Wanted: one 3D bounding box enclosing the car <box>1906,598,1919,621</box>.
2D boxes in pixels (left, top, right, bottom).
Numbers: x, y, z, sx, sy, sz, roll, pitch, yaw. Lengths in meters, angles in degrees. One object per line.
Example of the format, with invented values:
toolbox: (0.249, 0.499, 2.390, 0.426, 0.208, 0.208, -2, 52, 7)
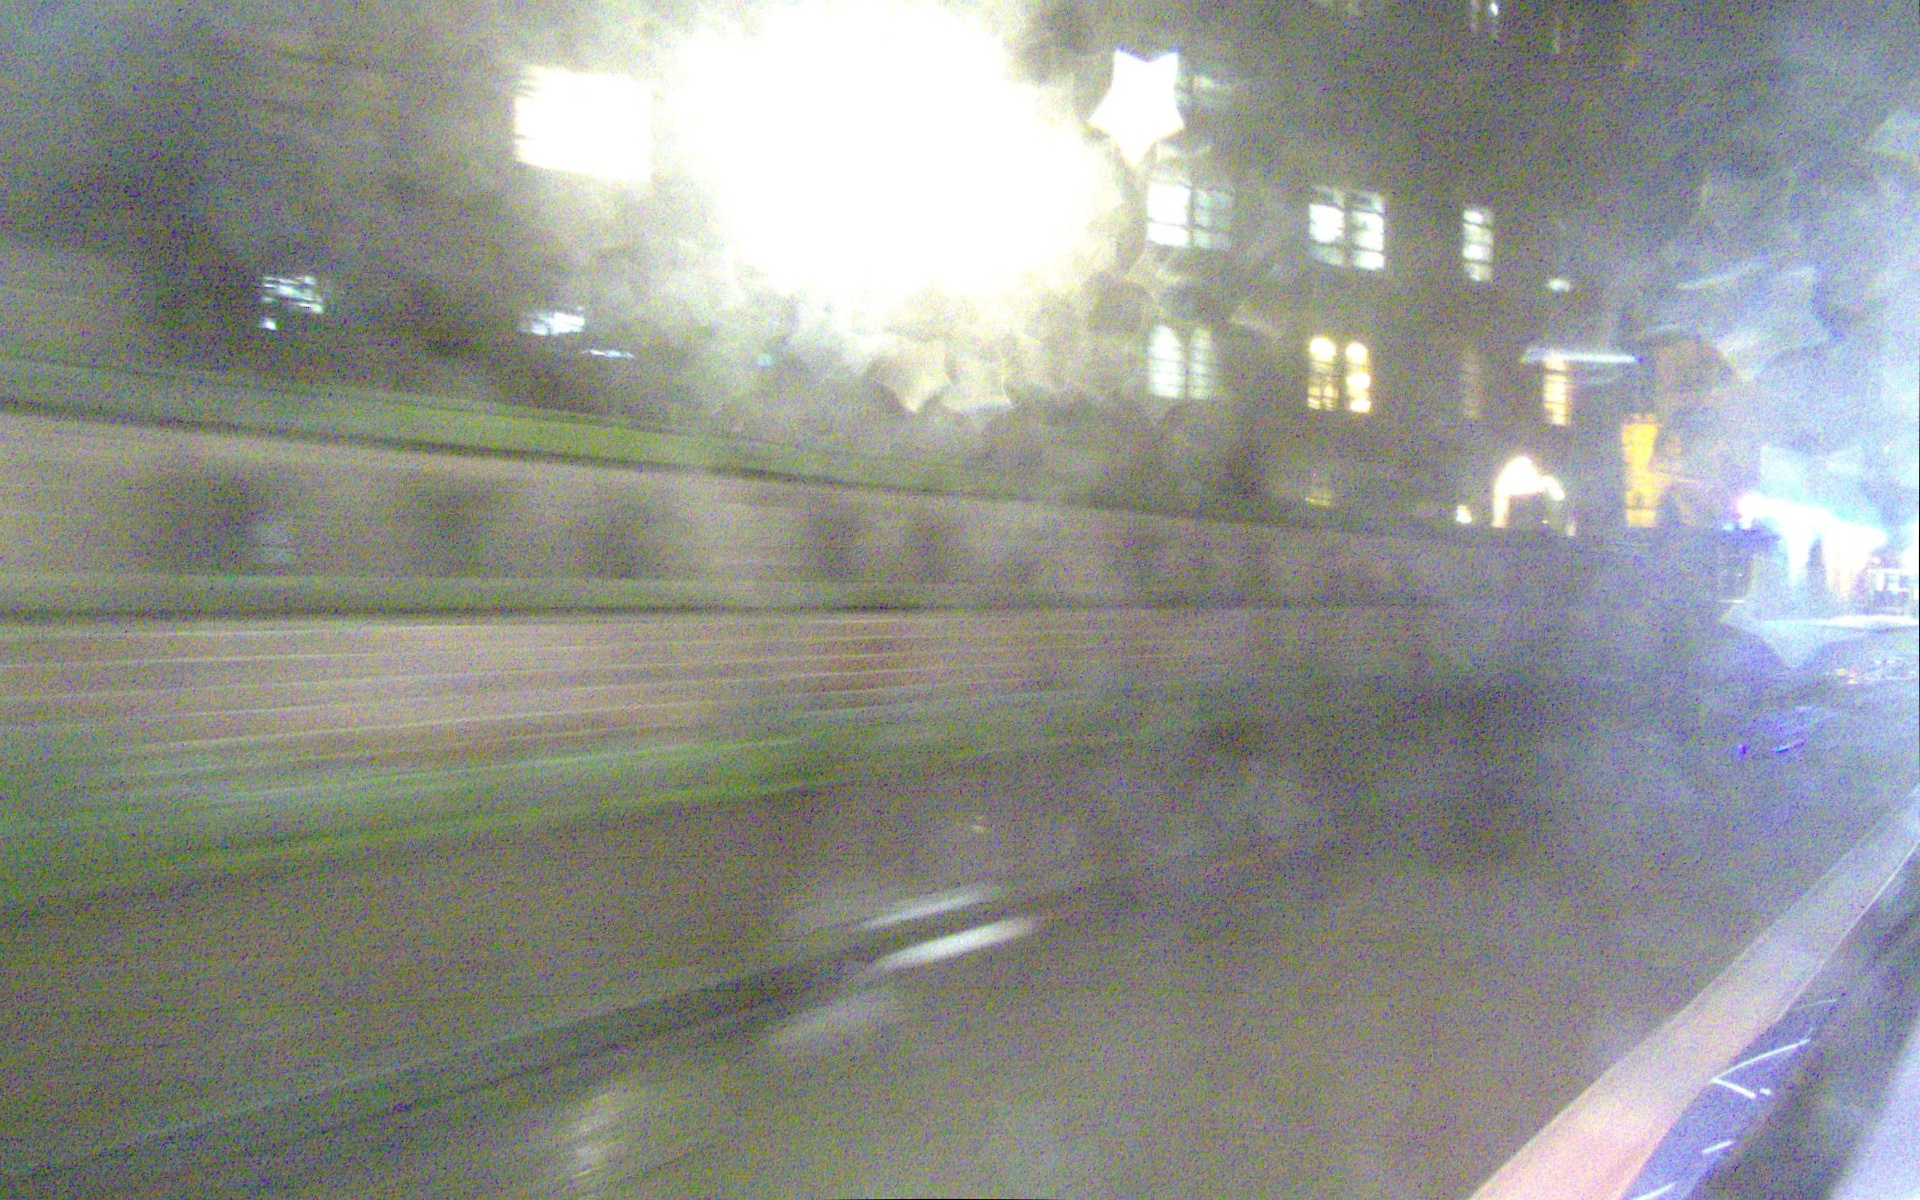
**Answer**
car: (65.894, 0.658, 67.152, 4.063, 1.556, 1.944, 1, 1, 25)
